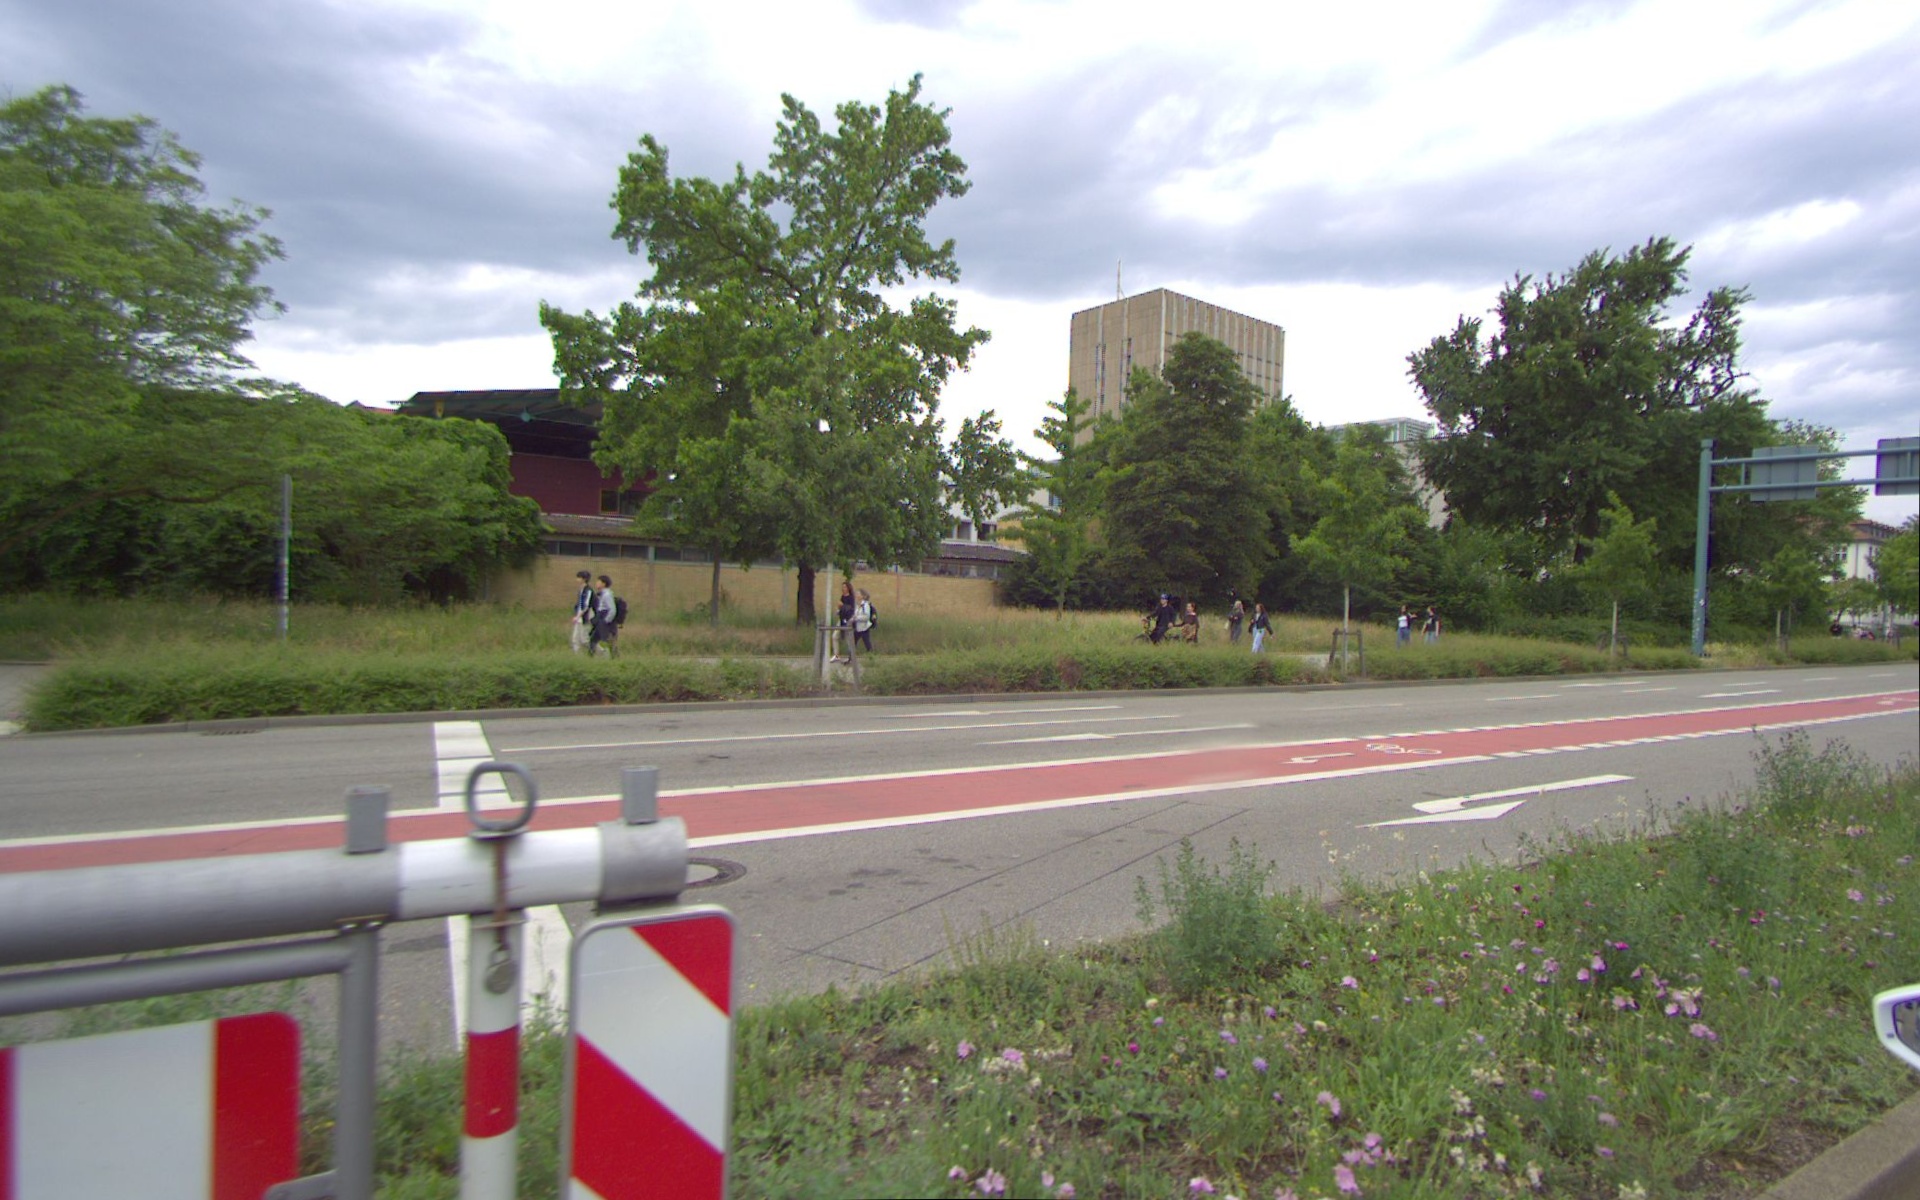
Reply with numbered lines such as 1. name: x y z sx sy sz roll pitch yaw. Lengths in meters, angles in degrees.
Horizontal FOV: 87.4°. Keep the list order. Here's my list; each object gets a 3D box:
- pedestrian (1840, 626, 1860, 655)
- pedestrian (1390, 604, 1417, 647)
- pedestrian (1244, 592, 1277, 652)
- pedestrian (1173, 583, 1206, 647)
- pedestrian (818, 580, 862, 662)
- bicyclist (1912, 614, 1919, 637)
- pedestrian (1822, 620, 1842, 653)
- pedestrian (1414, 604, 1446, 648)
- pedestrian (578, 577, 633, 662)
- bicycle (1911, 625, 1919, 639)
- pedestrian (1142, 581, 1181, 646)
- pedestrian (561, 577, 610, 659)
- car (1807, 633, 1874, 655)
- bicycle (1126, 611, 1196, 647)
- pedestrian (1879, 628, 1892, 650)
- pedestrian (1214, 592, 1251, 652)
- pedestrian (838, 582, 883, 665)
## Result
1. pedestrian: 51.570 2.325 58.214 0.664 1.658 0.696 1 0 -34
2. pedestrian: 14.437 0.819 32.684 0.637 1.381 0.678 1 0 38
3. pedestrian: 8.537 0.629 28.494 0.714 1.682 0.580 1 0 -39
4. pedestrian: 5.871 0.388 25.719 0.606 1.630 0.574 1 0 -18
5. pedestrian: -2.588 0.451 21.608 0.753 1.734 0.576 1 0 -30
6. bicyclist: 71.717 1.925 75.051 0.657 1.657 0.958 4 1 38
7. pedestrian: 47.440 1.985 54.654 0.810 1.752 0.616 1 0 -34
8. pedestrian: 14.861 0.817 31.754 0.705 1.376 0.640 1 0 -39
9. pedestrian: -6.410 0.351 18.166 0.803 1.499 0.725 1 0 -30
10. bicycle: 71.717 2.401 75.094 0.657 1.076 1.613 4 1 37
11. pedestrian: 5.252 0.351 26.204 0.751 1.653 0.660 1 0 -19
12. pedestrian: -7.000 0.334 18.770 0.753 1.499 0.632 1 0 -30
13. car: 67.764 3.347 77.341 1.549 1.241 3.625 -7 7 -38
14. bicycle: 5.245 0.753 26.202 1.688 0.899 0.660 1 0 -19
15. pedestrian: 69.130 2.923 75.039 0.562 1.546 0.847 3 -4 33
16. pedestrian: 7.901 0.625 29.095 0.761 1.695 0.701 1 0 -39
17. pedestrian: -2.093 0.493 21.108 0.738 1.718 0.619 1 0 -30
